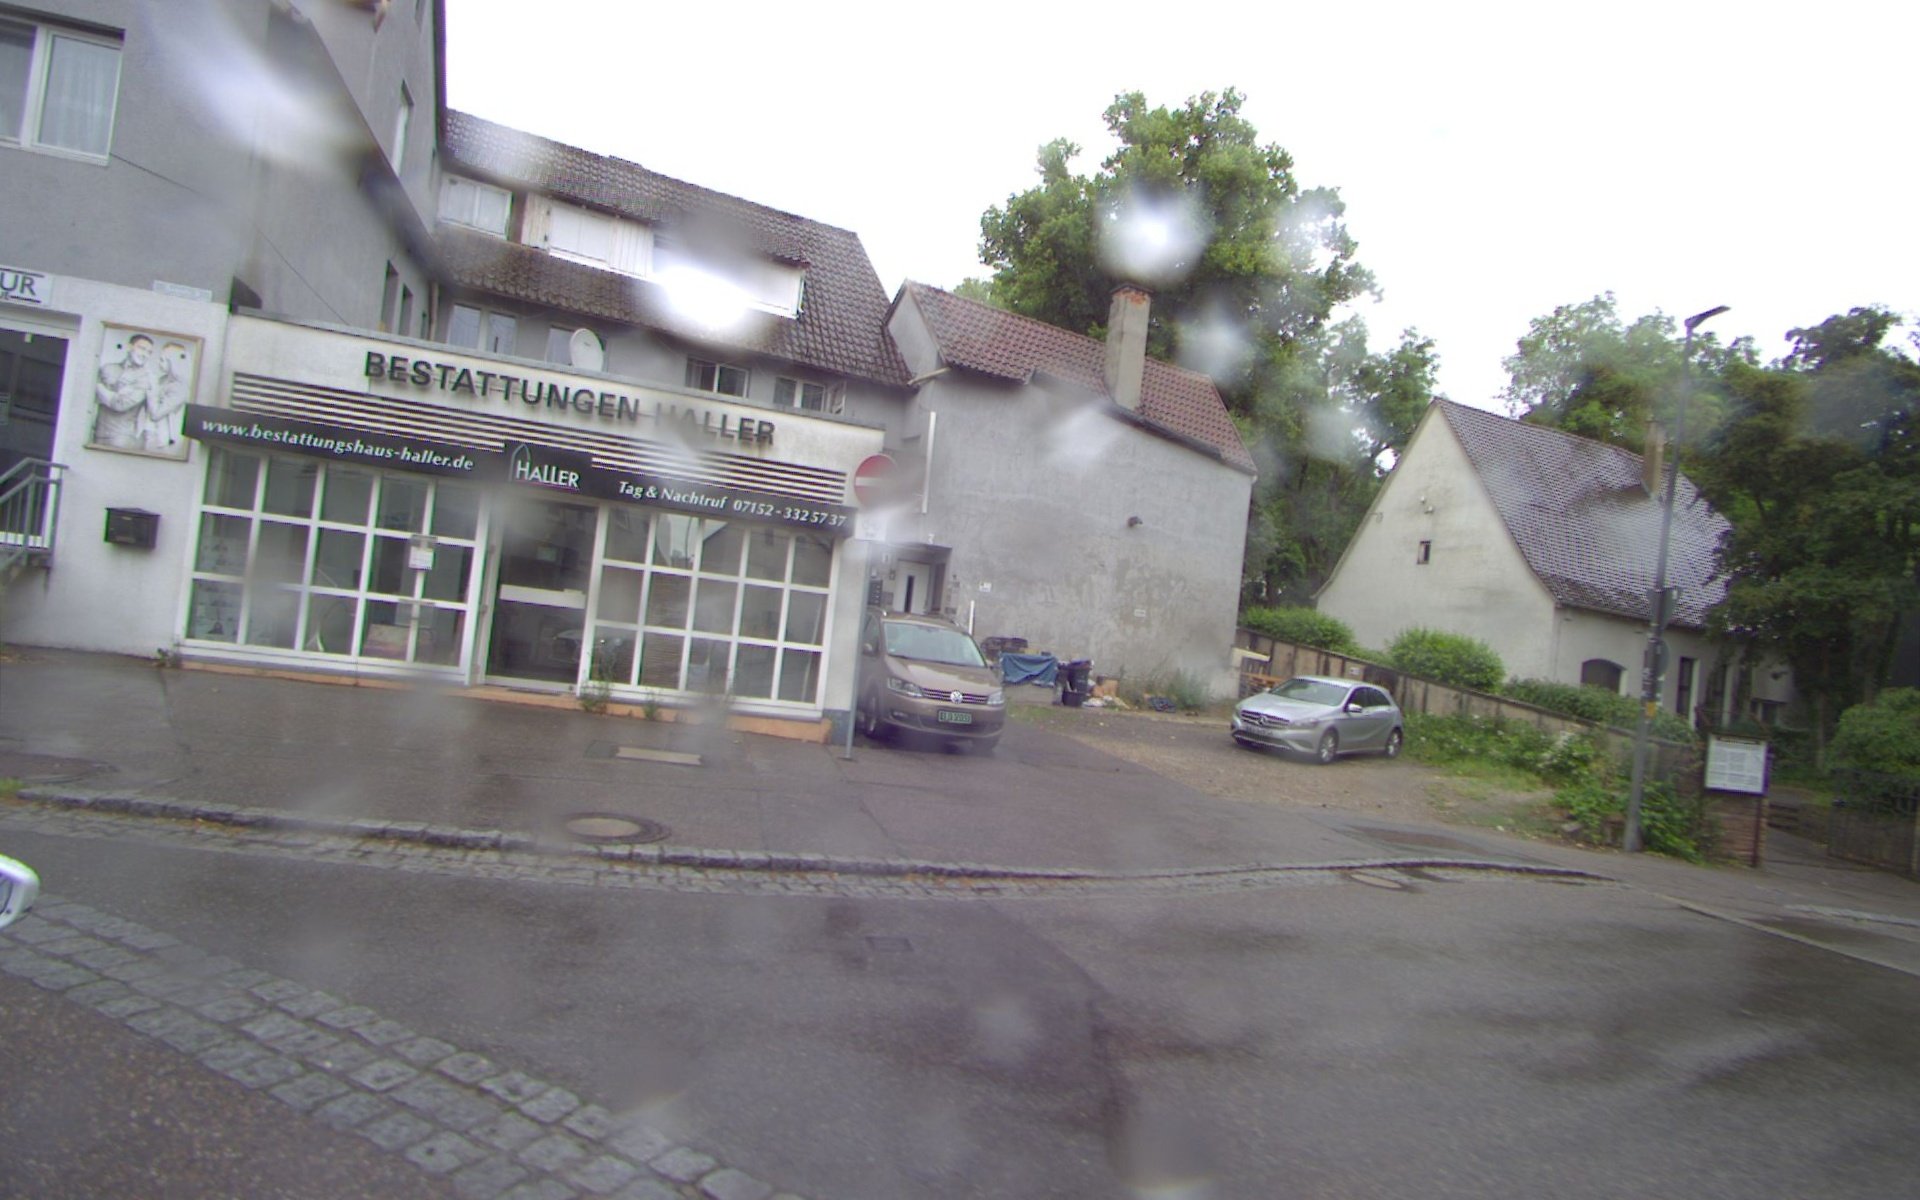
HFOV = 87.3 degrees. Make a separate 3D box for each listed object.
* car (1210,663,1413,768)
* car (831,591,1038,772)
[{"bbox_3d":[6.609,2.124,18.698,3.973,1.493,1.810,6,2,-43],"label":"car"},{"bbox_3d":[-0.546,1.038,14.553,1.970,1.794,3.984,9,2,-14],"label":"car"}]
